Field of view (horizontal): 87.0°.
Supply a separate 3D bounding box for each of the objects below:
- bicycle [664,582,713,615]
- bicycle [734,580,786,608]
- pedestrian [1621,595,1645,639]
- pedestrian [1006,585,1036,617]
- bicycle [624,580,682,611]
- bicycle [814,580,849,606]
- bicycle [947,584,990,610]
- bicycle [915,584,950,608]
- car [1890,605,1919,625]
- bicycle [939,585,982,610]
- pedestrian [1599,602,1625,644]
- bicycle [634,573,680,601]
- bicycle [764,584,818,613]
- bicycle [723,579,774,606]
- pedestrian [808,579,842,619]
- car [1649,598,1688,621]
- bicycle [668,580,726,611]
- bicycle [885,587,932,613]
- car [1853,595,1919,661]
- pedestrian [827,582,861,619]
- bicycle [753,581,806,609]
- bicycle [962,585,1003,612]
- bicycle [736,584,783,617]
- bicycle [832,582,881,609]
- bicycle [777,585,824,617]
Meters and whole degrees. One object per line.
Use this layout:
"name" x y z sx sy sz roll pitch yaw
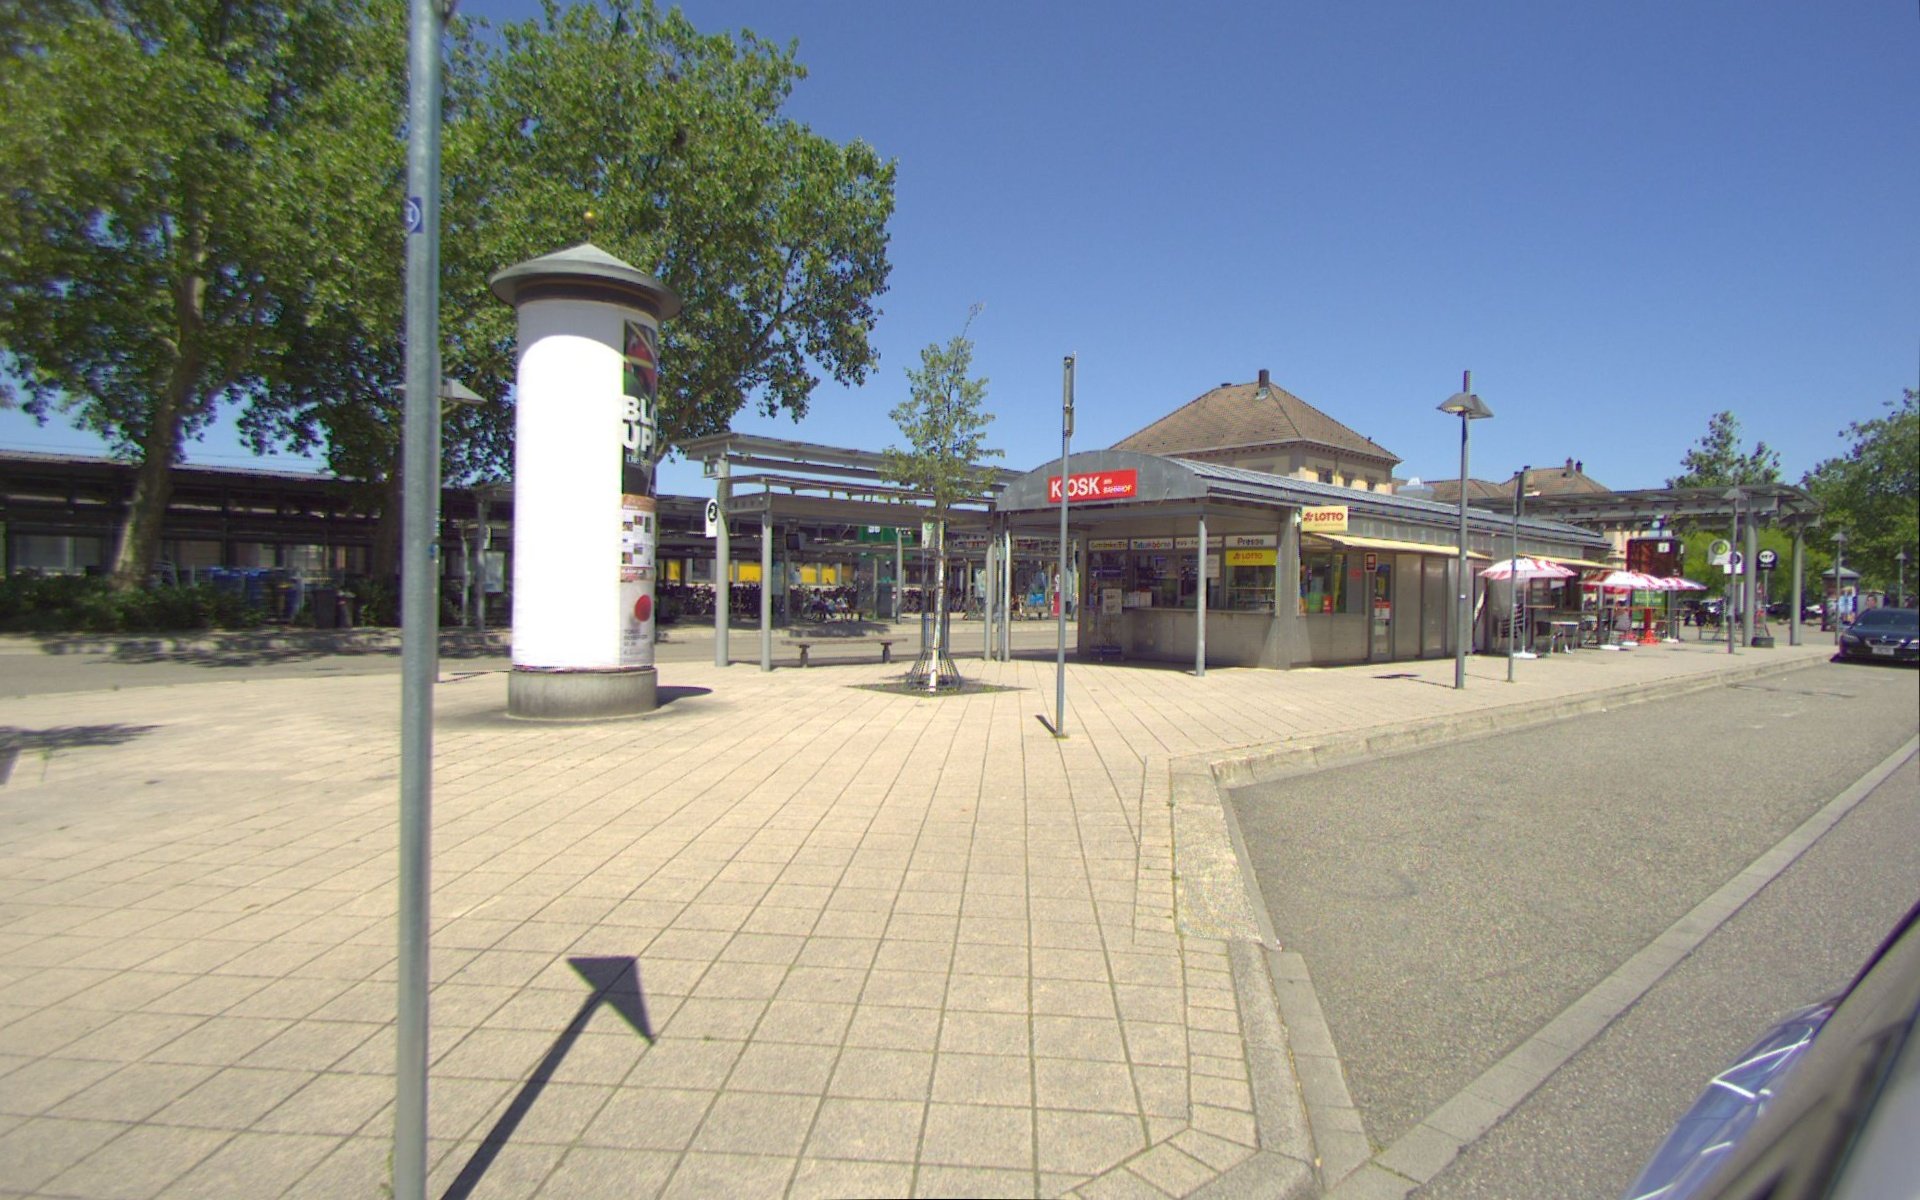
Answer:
"bicycle" -10.400 -0.074 38.868 0.662 1.086 2.156 1 4 21
"bicycle" -8.732 -0.278 44.254 2.130 1.086 0.670 -3 5 -37
"pedestrian" 19.703 0.487 29.631 0.502 1.247 0.505 1 0 44
"pedestrian" 2.602 0.040 43.116 0.816 1.321 0.962 1 1 -40
"bicycle" -12.246 -0.188 40.393 2.130 1.086 0.670 -3 5 -37
"bicycle" -6.064 -0.323 47.677 0.658 1.086 2.170 -3 5 -36
"bicycle" 0.415 -0.151 48.749 2.130 1.086 0.670 -3 5 -37
"bicycle" -1.383 -0.207 50.267 0.658 1.086 2.170 -3 5 -36
"car" 82.441 1.302 86.775 3.986 1.686 1.969 2 1 43
"bicycle" 0.045 -0.130 49.370 2.130 1.086 0.670 -3 5 -37
"pedestrian" 19.254 0.669 29.870 0.463 1.226 0.490 1 0 -35
"bicycle" -12.642 -0.556 42.156 2.157 1.086 0.662 3 5 37
"bicycle" -7.018 -0.085 42.103 2.130 1.086 0.670 -3 5 -37
"bicycle" -9.438 -0.328 45.220 2.130 1.086 0.670 -3 5 -37
"pedestrian" -4.886 -0.041 36.506 0.816 1.403 0.962 1 1 -40
"car" 64.402 0.868 91.994 3.930 2.039 1.997 0 1 -41
"bicycle" -10.493 -0.199 40.431 2.130 1.086 0.670 -3 5 -37
"bicycle" -2.354 -0.008 46.522 2.130 1.086 0.670 -3 5 -37
"car" 24.774 0.700 26.297 4.109 1.564 1.777 0 3 -41
"pedestrian" -4.257 0.020 37.131 0.816 1.321 0.962 1 1 -40
"bicycle" -7.647 -0.228 42.959 2.130 1.086 0.670 -3 5 -37
"bicycle" 0.984 -0.079 45.504 0.658 1.086 2.170 -3 5 -36
"bicycle" -7.473 0.004 37.633 0.659 1.086 2.166 -4 5 -43
"bicycle" -4.679 -0.213 45.799 2.153 1.086 0.854 2 5 32
"bicycle" -6.125 0.025 38.742 0.659 1.086 2.166 -4 5 -43
